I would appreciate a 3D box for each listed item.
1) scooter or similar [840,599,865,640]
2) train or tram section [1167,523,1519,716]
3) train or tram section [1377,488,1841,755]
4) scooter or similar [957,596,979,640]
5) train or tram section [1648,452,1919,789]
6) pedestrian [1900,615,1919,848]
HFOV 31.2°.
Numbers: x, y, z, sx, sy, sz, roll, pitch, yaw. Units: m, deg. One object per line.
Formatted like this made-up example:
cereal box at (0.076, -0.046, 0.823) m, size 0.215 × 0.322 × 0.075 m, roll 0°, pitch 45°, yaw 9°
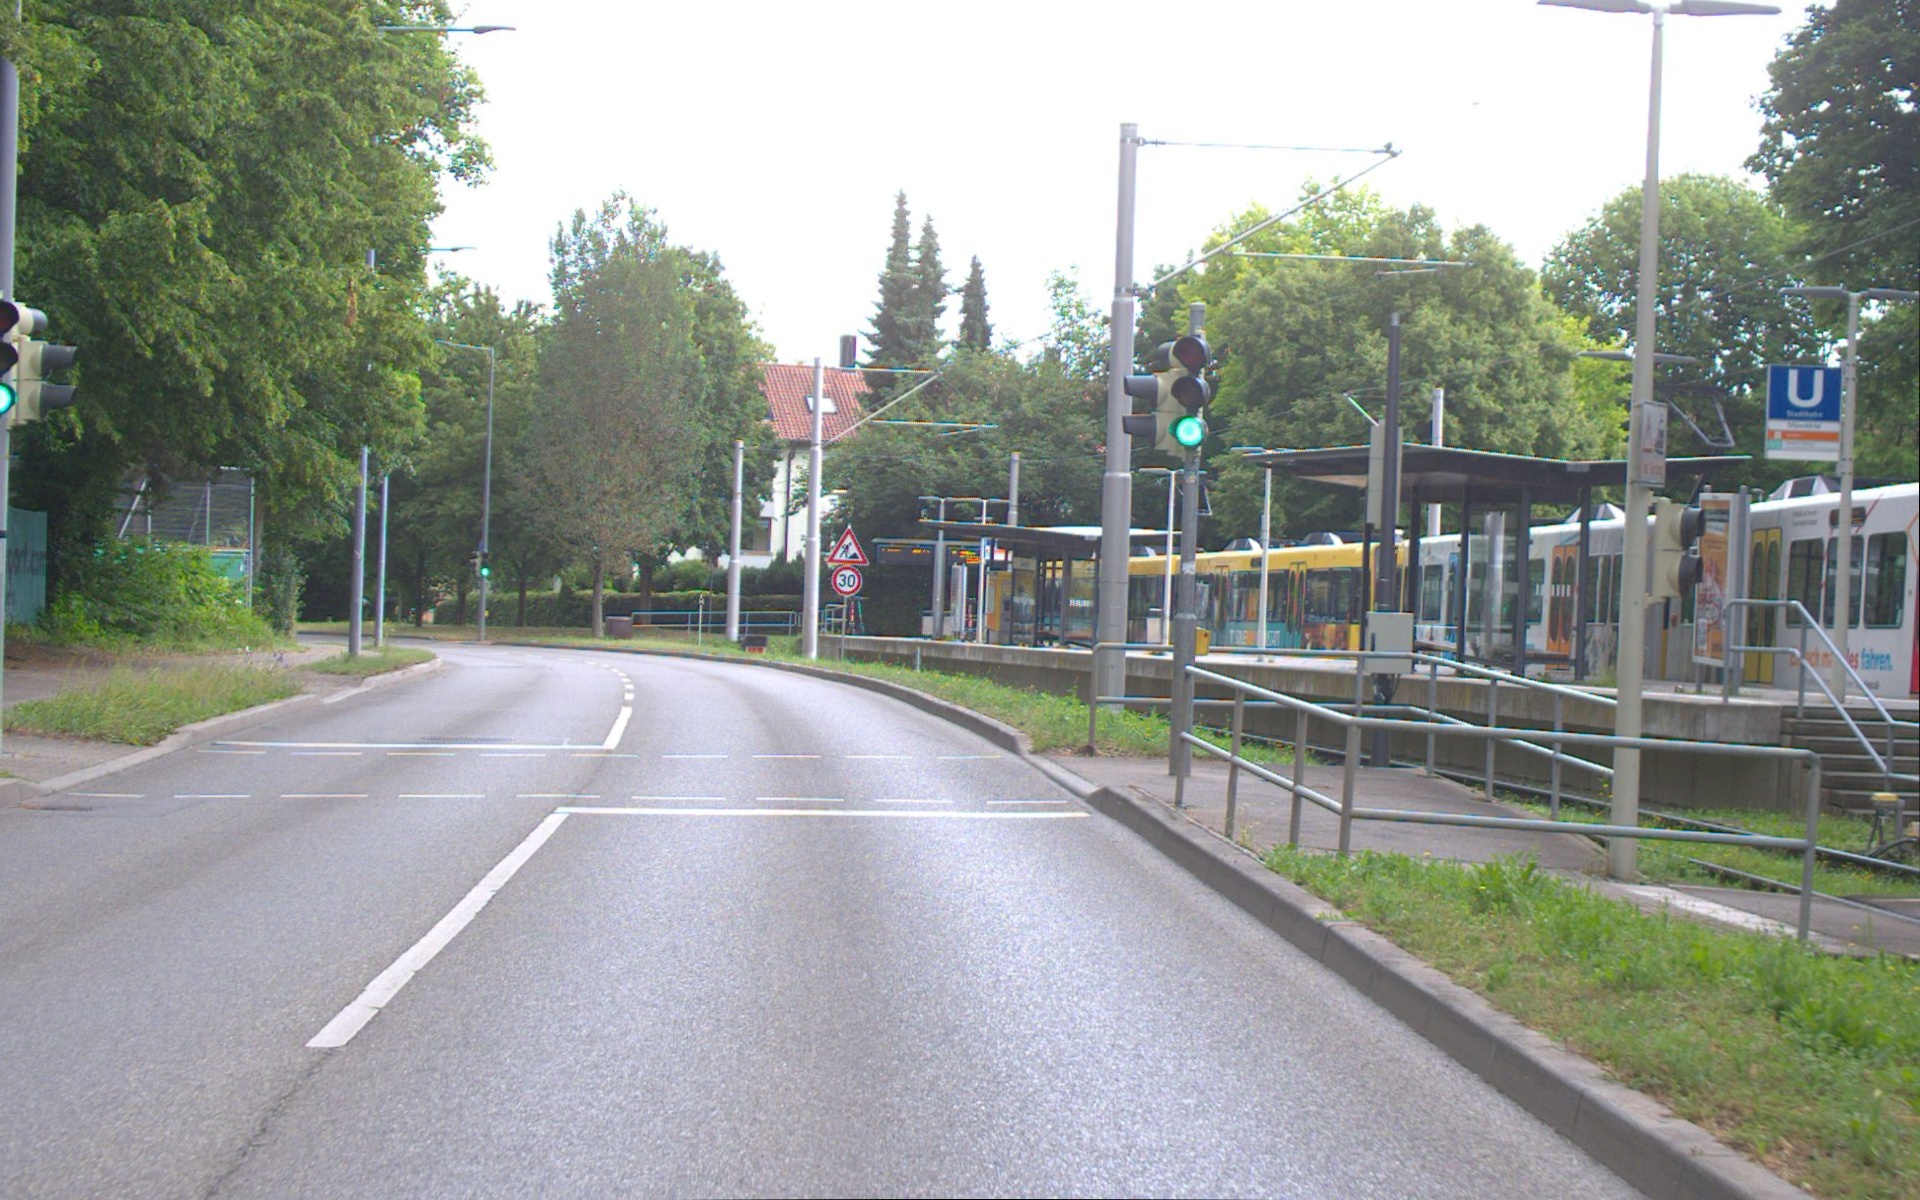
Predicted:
scooter or similar at (-3.322, 0.604, 106.246) m, size 0.429 × 1.249 × 1.255 m, roll 1°, pitch -2°, yaw -18°
train or tram section at (8.299, 0.371, 78.795) m, size 2.812 × 3.724 × 19.518 m, roll 3°, pitch 0°, yaw -9°
train or tram section at (10.715, 0.337, 60.078) m, size 2.813 × 3.786 × 18.936 m, roll 3°, pitch 0°, yaw -5°
scooter or similar at (0.220, 0.505, 96.510) m, size 0.368 × 1.238 × 1.146 m, roll 2°, pitch 0°, yaw -10°
train or tram section at (11.901, 0.296, 41.222) m, size 2.813 × 3.724 × 18.533 m, roll 3°, pitch 0°, yaw -2°
pedestrian at (7.751, 1.018, 25.869) m, size 0.983 × 1.752 × 0.730 m, roll 3°, pitch 0°, yaw -12°
